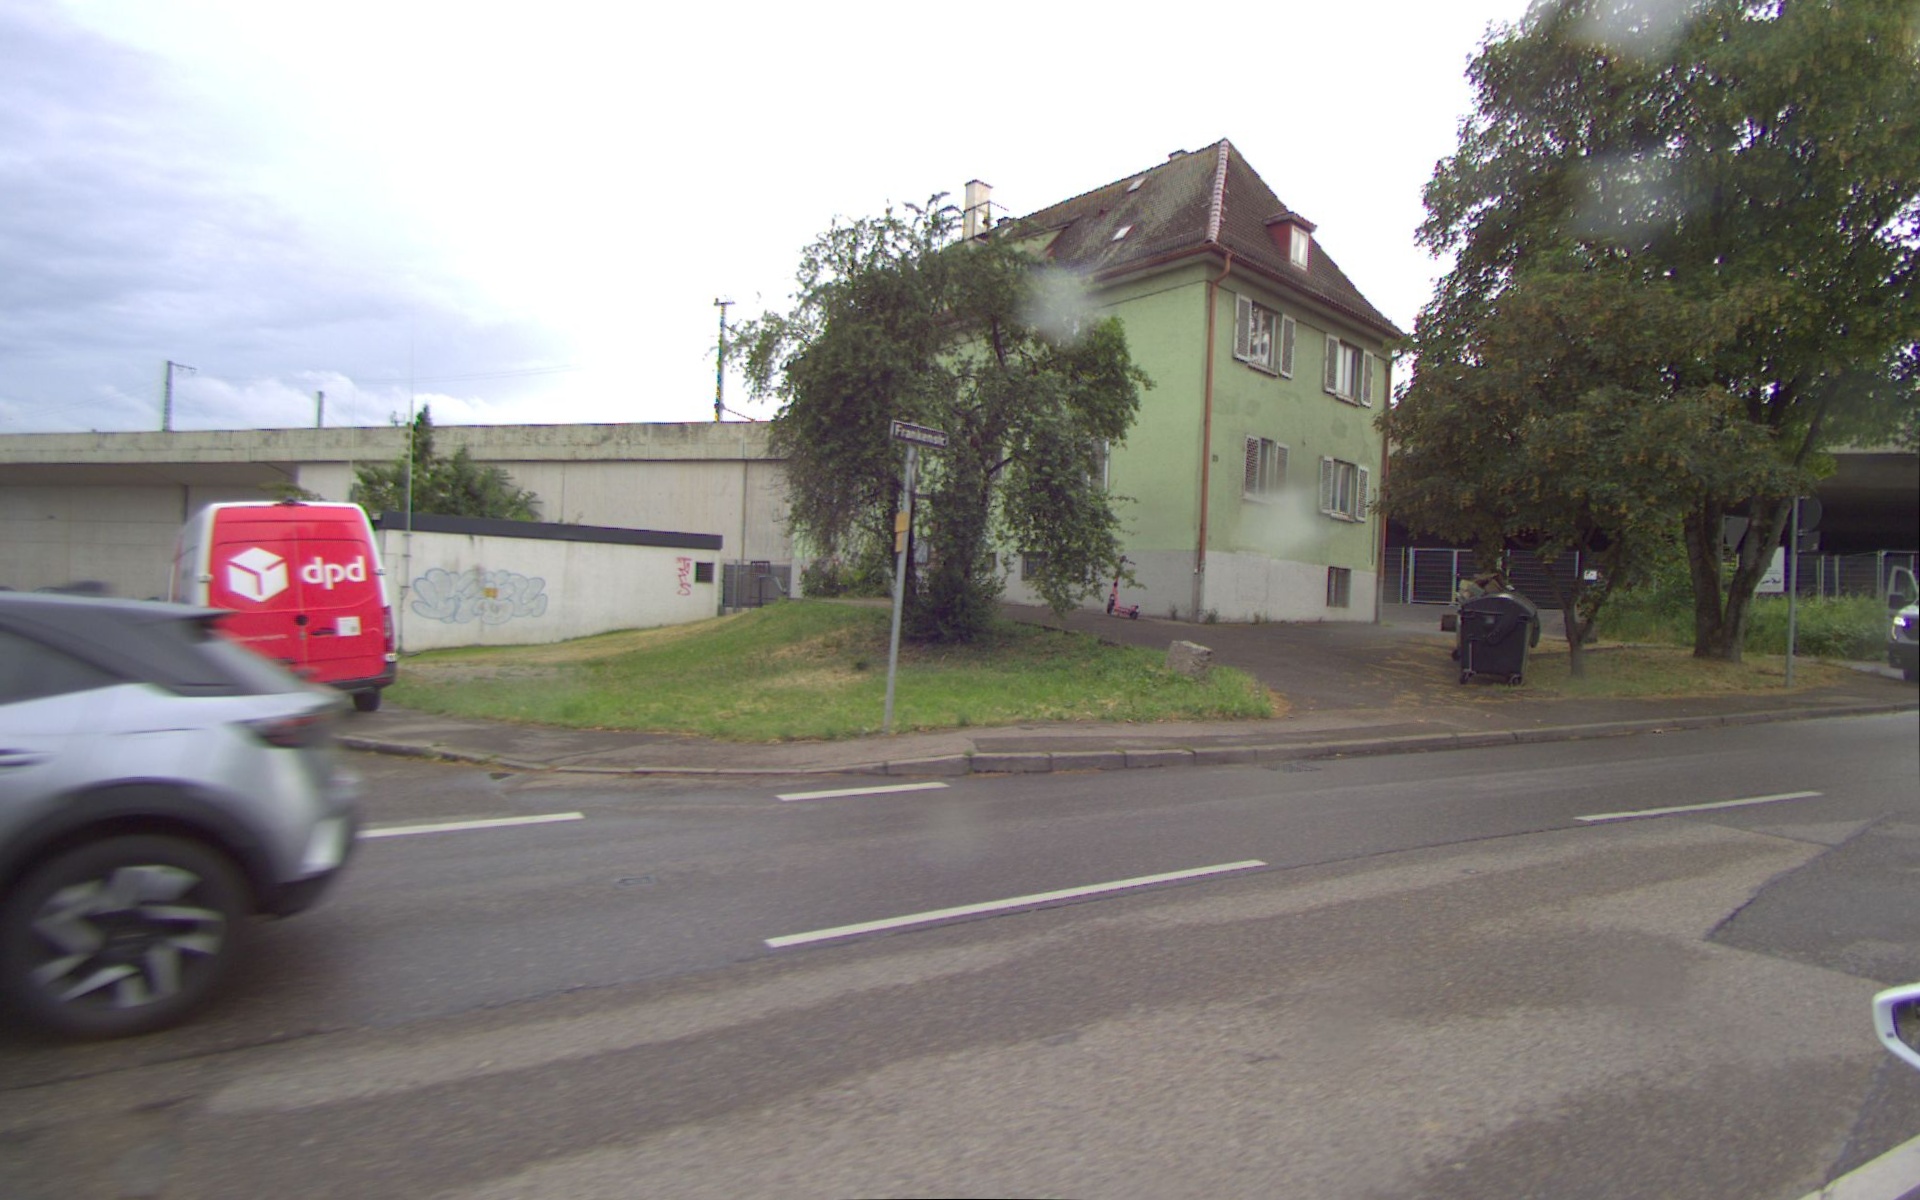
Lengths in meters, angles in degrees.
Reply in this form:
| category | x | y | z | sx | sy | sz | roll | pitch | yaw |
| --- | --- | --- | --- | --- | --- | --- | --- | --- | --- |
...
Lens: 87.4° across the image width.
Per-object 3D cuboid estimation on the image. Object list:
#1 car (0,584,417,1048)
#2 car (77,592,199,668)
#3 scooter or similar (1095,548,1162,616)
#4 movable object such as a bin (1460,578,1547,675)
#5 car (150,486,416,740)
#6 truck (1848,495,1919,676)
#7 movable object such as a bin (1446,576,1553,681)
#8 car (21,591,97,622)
| category | x | y | z | sx | sy | sz | roll | pitch | yaw |
| --- | --- | --- | --- | --- | --- | --- | --- | --- | --- |
| car | -4.222 | 0.689 | 3.609 | 3.953 | 1.481 | 1.886 | 0 | 0 | -31 |
| car | -20.186 | 0.662 | 24.608 | 1.986 | 1.651 | 4.197 | 1 | 0 | -44 |
| scooter or similar | 3.453 | -0.388 | 20.696 | 0.523 | 1.291 | 1.515 | 1 | 4 | -26 |
| movable object such as a bin | 9.494 | 0.431 | 17.629 | 1.079 | 1.458 | 1.461 | 4 | 7 | 21 |
| car | -9.639 | 0.108 | 13.942 | 2.246 | 2.691 | 6.741 | 1 | 0 | -41 |
| truck | 21.038 | -0.237 | 19.310 | 7.657 | 3.280 | 2.607 | 0 | 0 | -20 |
| movable object such as a bin | 8.733 | 0.425 | 16.365 | 1.269 | 1.458 | 1.461 | 4 | 7 | 21 |
| car | -57.000 | 0.406 | 63.524 | 3.922 | 1.819 | 2.000 | 1 | 0 | 21 |
